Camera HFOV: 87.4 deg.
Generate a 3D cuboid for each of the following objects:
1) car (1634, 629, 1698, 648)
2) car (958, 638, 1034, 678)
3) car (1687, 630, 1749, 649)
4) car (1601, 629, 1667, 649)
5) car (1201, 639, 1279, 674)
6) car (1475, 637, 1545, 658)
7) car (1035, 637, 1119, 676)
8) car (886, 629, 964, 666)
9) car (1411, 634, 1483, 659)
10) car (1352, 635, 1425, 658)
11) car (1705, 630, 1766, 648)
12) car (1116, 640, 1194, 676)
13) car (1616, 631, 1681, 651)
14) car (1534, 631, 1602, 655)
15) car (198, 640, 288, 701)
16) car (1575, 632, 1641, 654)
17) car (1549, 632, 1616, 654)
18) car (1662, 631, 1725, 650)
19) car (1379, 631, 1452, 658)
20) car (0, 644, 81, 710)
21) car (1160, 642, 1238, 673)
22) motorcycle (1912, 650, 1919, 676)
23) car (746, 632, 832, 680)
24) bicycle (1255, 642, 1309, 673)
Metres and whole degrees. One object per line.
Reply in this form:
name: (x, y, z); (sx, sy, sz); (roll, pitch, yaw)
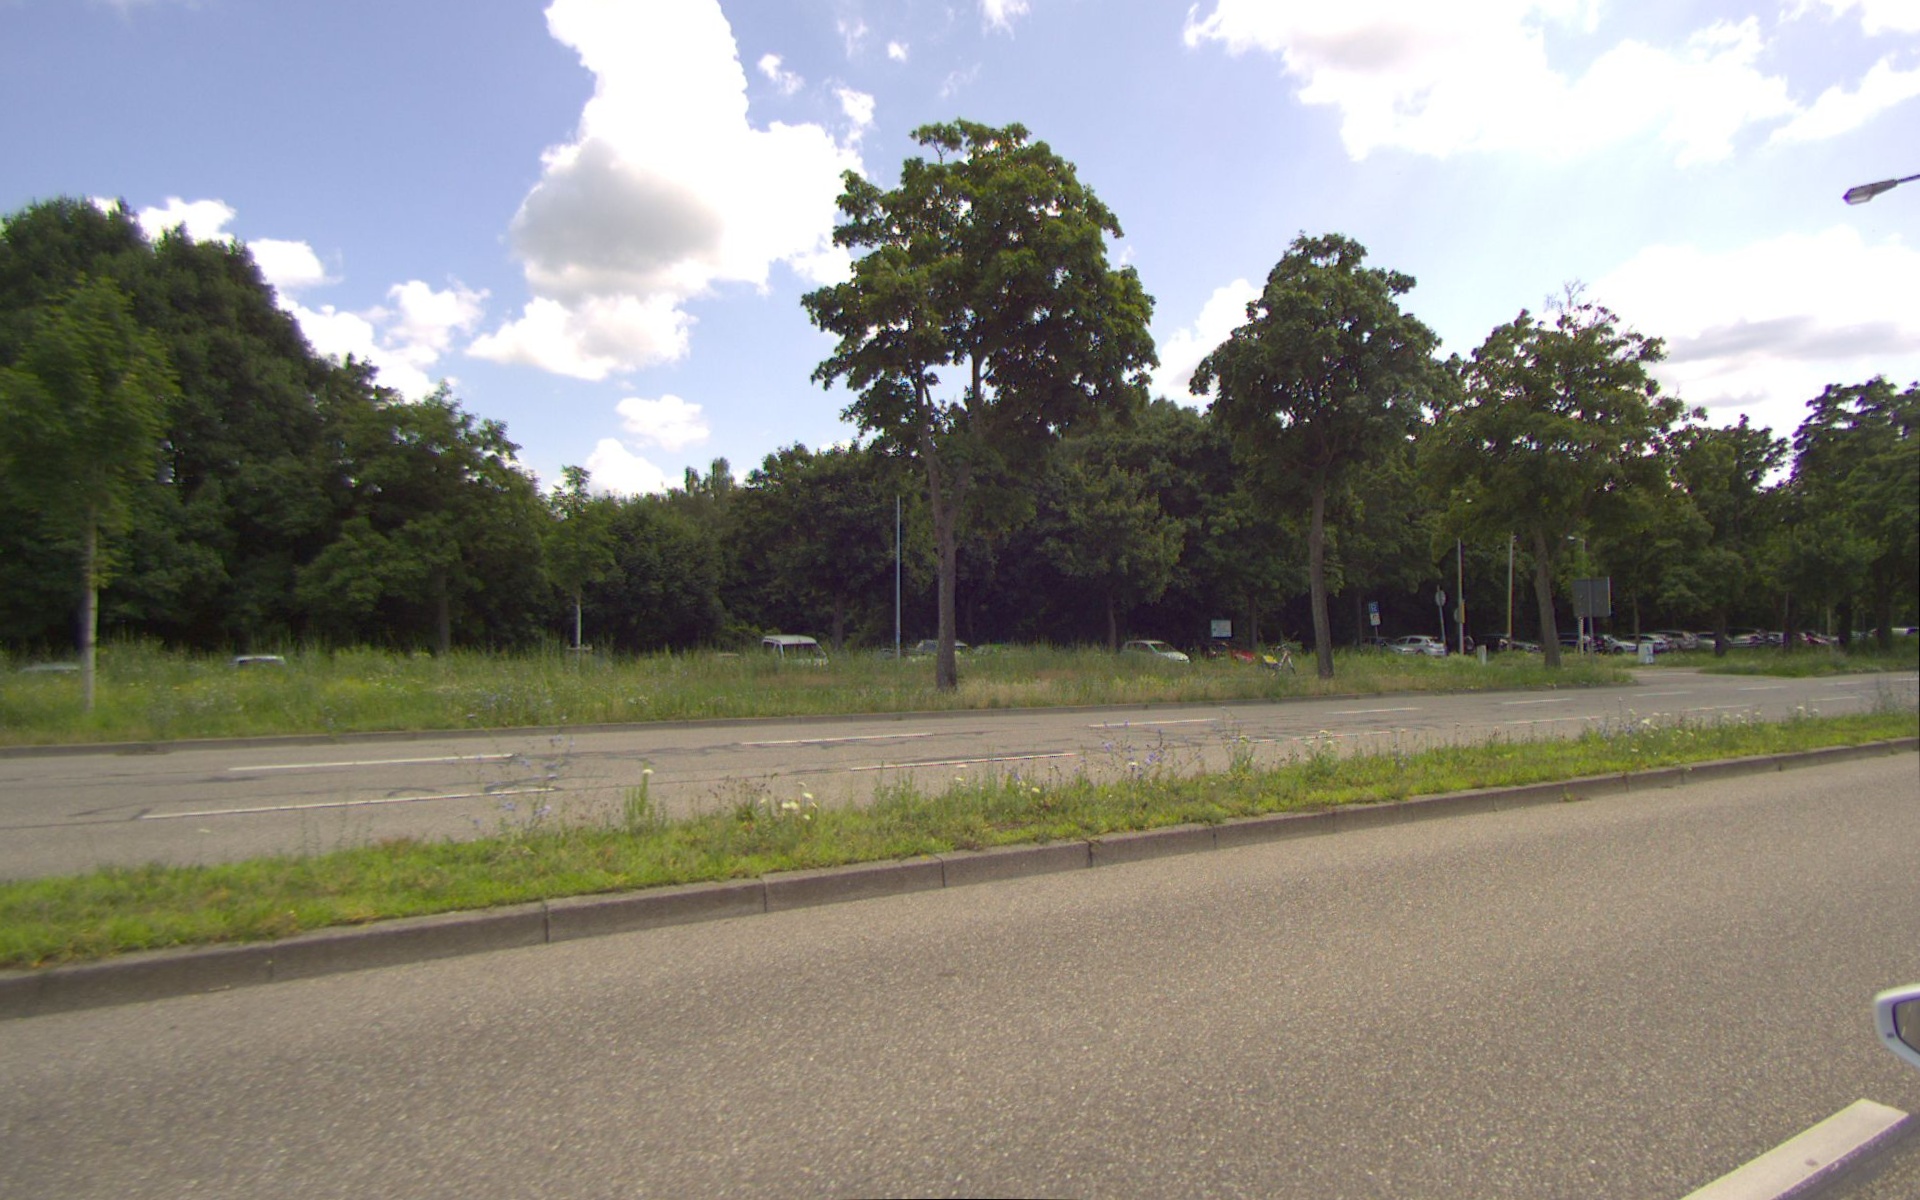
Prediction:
car: (55.820, 3.023, 79.497); (1.762, 1.406, 3.772); (0, 0, -26)
car: (1.554, 2.538, 44.406); (1.677, 1.559, 3.560); (0, 0, -33)
car: (63.083, 3.254, 83.650); (1.762, 1.406, 3.772); (0, 0, -26)
car: (51.257, 2.947, 76.448); (1.762, 1.406, 3.772); (0, 0, -26)
car: (14.346, 2.867, 51.640); (1.763, 1.528, 3.769); (0, 0, -29)
car: (36.737, 3.156, 67.190); (1.765, 1.264, 3.766); (0, 0, -30)
car: (5.308, 2.554, 46.015); (1.677, 1.579, 3.964); (0, 0, -33)
car: (-1.677, 2.201, 47.186); (1.978, 1.539, 3.965); (0, 0, -32)
car: (30.693, 2.908, 63.340); (1.765, 1.405, 3.766); (0, 0, -30)
car: (25.866, 2.787, 60.741); (1.763, 1.264, 3.769); (0, 0, -29)
car: (66.235, 3.283, 85.800); (1.762, 1.406, 3.772); (0, 0, -26)
car: (9.422, 2.762, 48.731); (1.763, 1.528, 3.769); (0, 0, -29)
car: (53.182, 3.172, 77.647); (1.761, 1.406, 3.773); (0, 0, -25)
car: (43.051, 3.027, 71.206); (1.762, 1.589, 3.772); (0, 0, -26)
car: (-21.765, 2.089, 30.618); (1.978, 1.539, 3.965); (0, 0, -32)
car: (47.738, 3.163, 74.089); (1.762, 1.406, 3.772); (0, 0, -26)
car: (45.070, 3.105, 72.782); (1.762, 1.406, 3.772); (0, 0, -26)
car: (59.098, 3.240, 80.967); (1.762, 1.406, 3.772); (0, 0, -26)
car: (28.033, 2.726, 61.922); (1.765, 1.447, 3.766); (0, 0, -30)
car: (-25.755, 2.065, 27.441); (1.978, 1.539, 3.965); (0, 0, -32)
car: (11.874, 2.832, 50.054); (1.763, 1.284, 3.769); (0, 0, -29)
motorcycle: (31.158, 1.976, 31.835); (2.640, 0.782, 0.748); (0, 0, -31)
car: (-6.786, 2.166, 39.534); (1.978, 1.647, 3.965); (0, 0, -32)
bicycle: (10.498, 1.870, 32.742); (1.895, 0.991, 0.564); (1, -2, -31)
